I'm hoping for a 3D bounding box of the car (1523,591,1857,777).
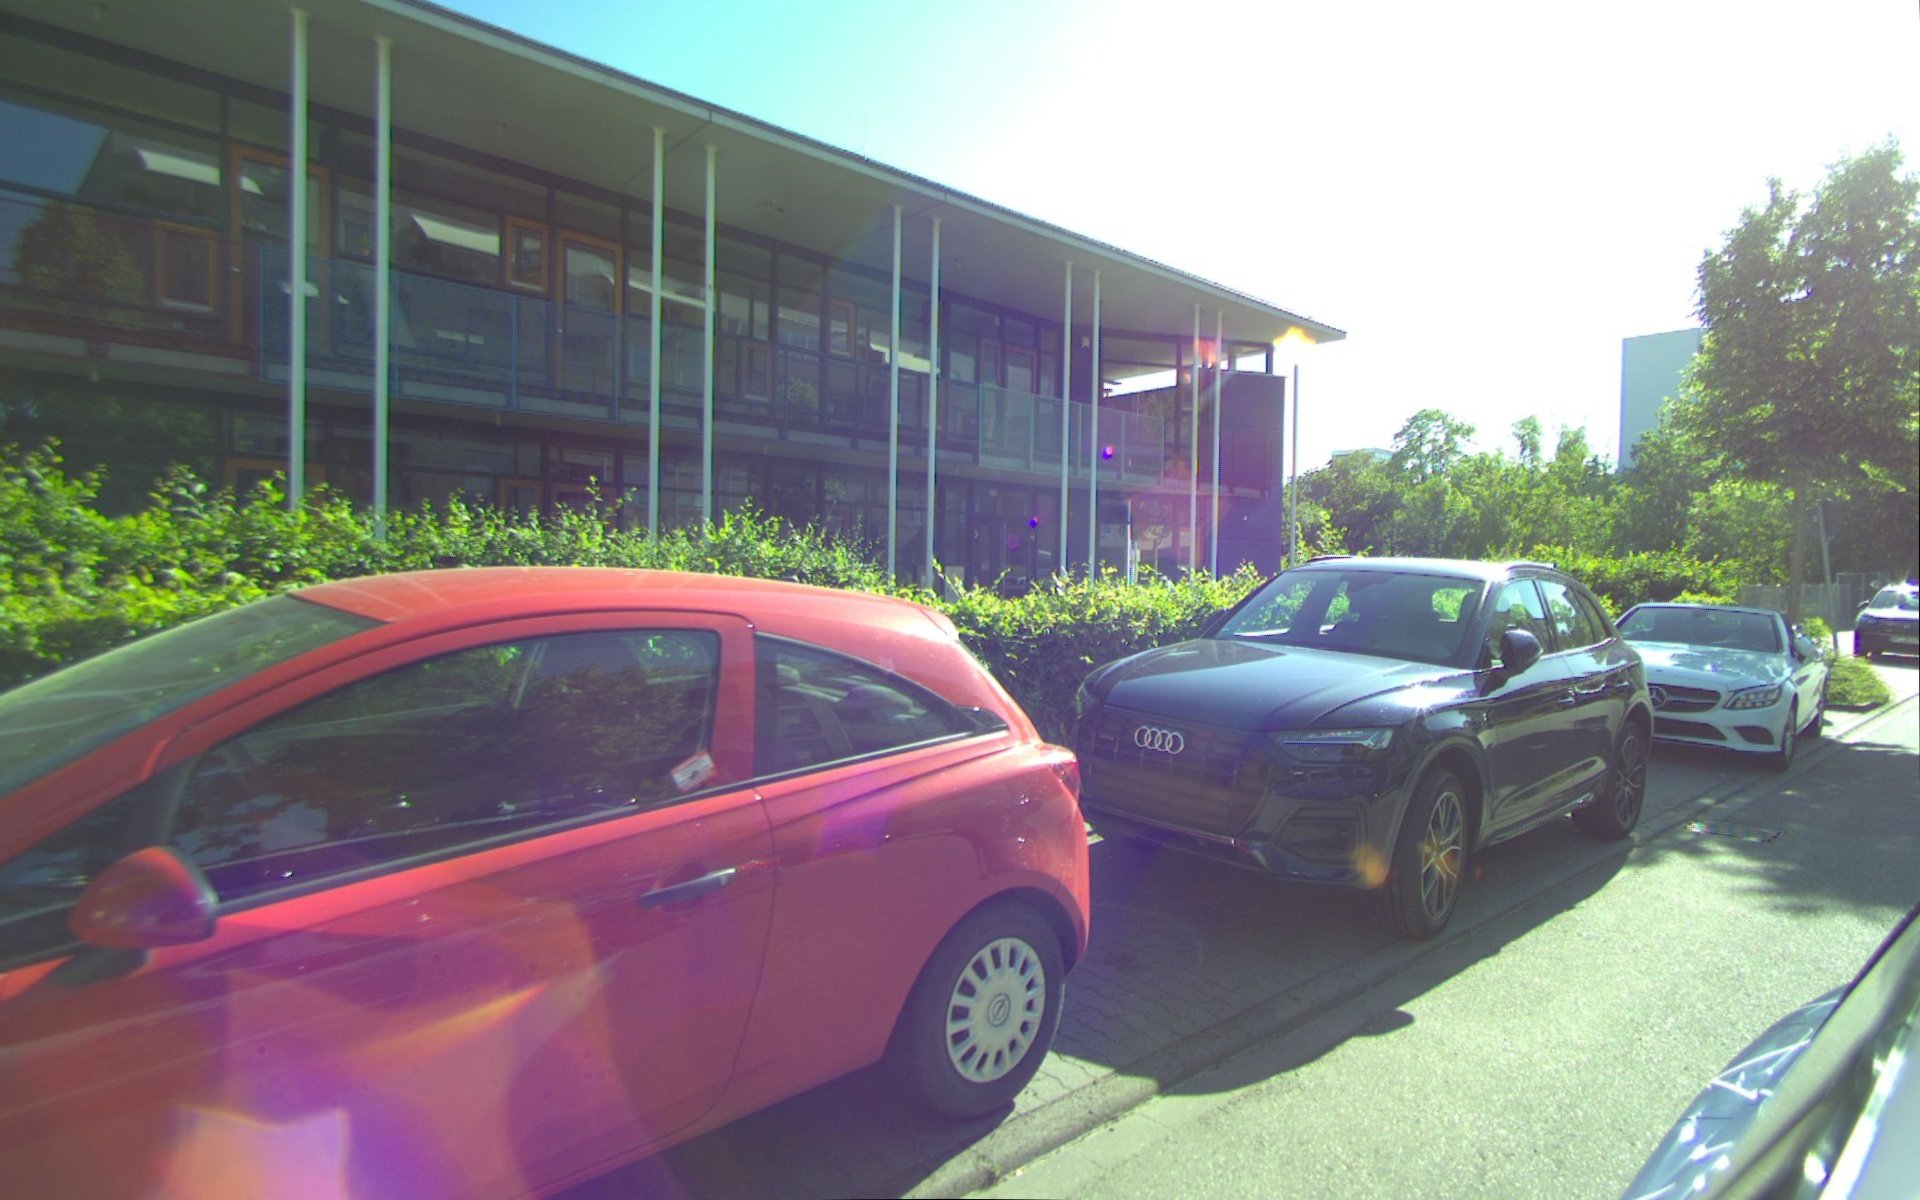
[{"bbox_3d":[7.688,0.656,10.453,4.698,1.335,1.965,-1,5,-44],"label":"car"}]

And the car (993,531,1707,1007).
[{"bbox_3d":[2.447,0.542,5.761,4.333,1.703,1.905,-1,4,-40],"label":"car"}]

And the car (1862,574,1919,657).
[{"bbox_3d":[21.581,0.334,22.378,4.411,1.667,1.823,-1,5,-41],"label":"car"}]

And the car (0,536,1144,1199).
[{"bbox_3d":[-1.409,0.629,2.489,3.780,1.522,1.678,-1,3,-42],"label":"car"}]

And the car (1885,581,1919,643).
[{"bbox_3d":[25.246,0.328,25.908,3.775,1.484,1.823,-1,5,-41],"label":"car"}]
